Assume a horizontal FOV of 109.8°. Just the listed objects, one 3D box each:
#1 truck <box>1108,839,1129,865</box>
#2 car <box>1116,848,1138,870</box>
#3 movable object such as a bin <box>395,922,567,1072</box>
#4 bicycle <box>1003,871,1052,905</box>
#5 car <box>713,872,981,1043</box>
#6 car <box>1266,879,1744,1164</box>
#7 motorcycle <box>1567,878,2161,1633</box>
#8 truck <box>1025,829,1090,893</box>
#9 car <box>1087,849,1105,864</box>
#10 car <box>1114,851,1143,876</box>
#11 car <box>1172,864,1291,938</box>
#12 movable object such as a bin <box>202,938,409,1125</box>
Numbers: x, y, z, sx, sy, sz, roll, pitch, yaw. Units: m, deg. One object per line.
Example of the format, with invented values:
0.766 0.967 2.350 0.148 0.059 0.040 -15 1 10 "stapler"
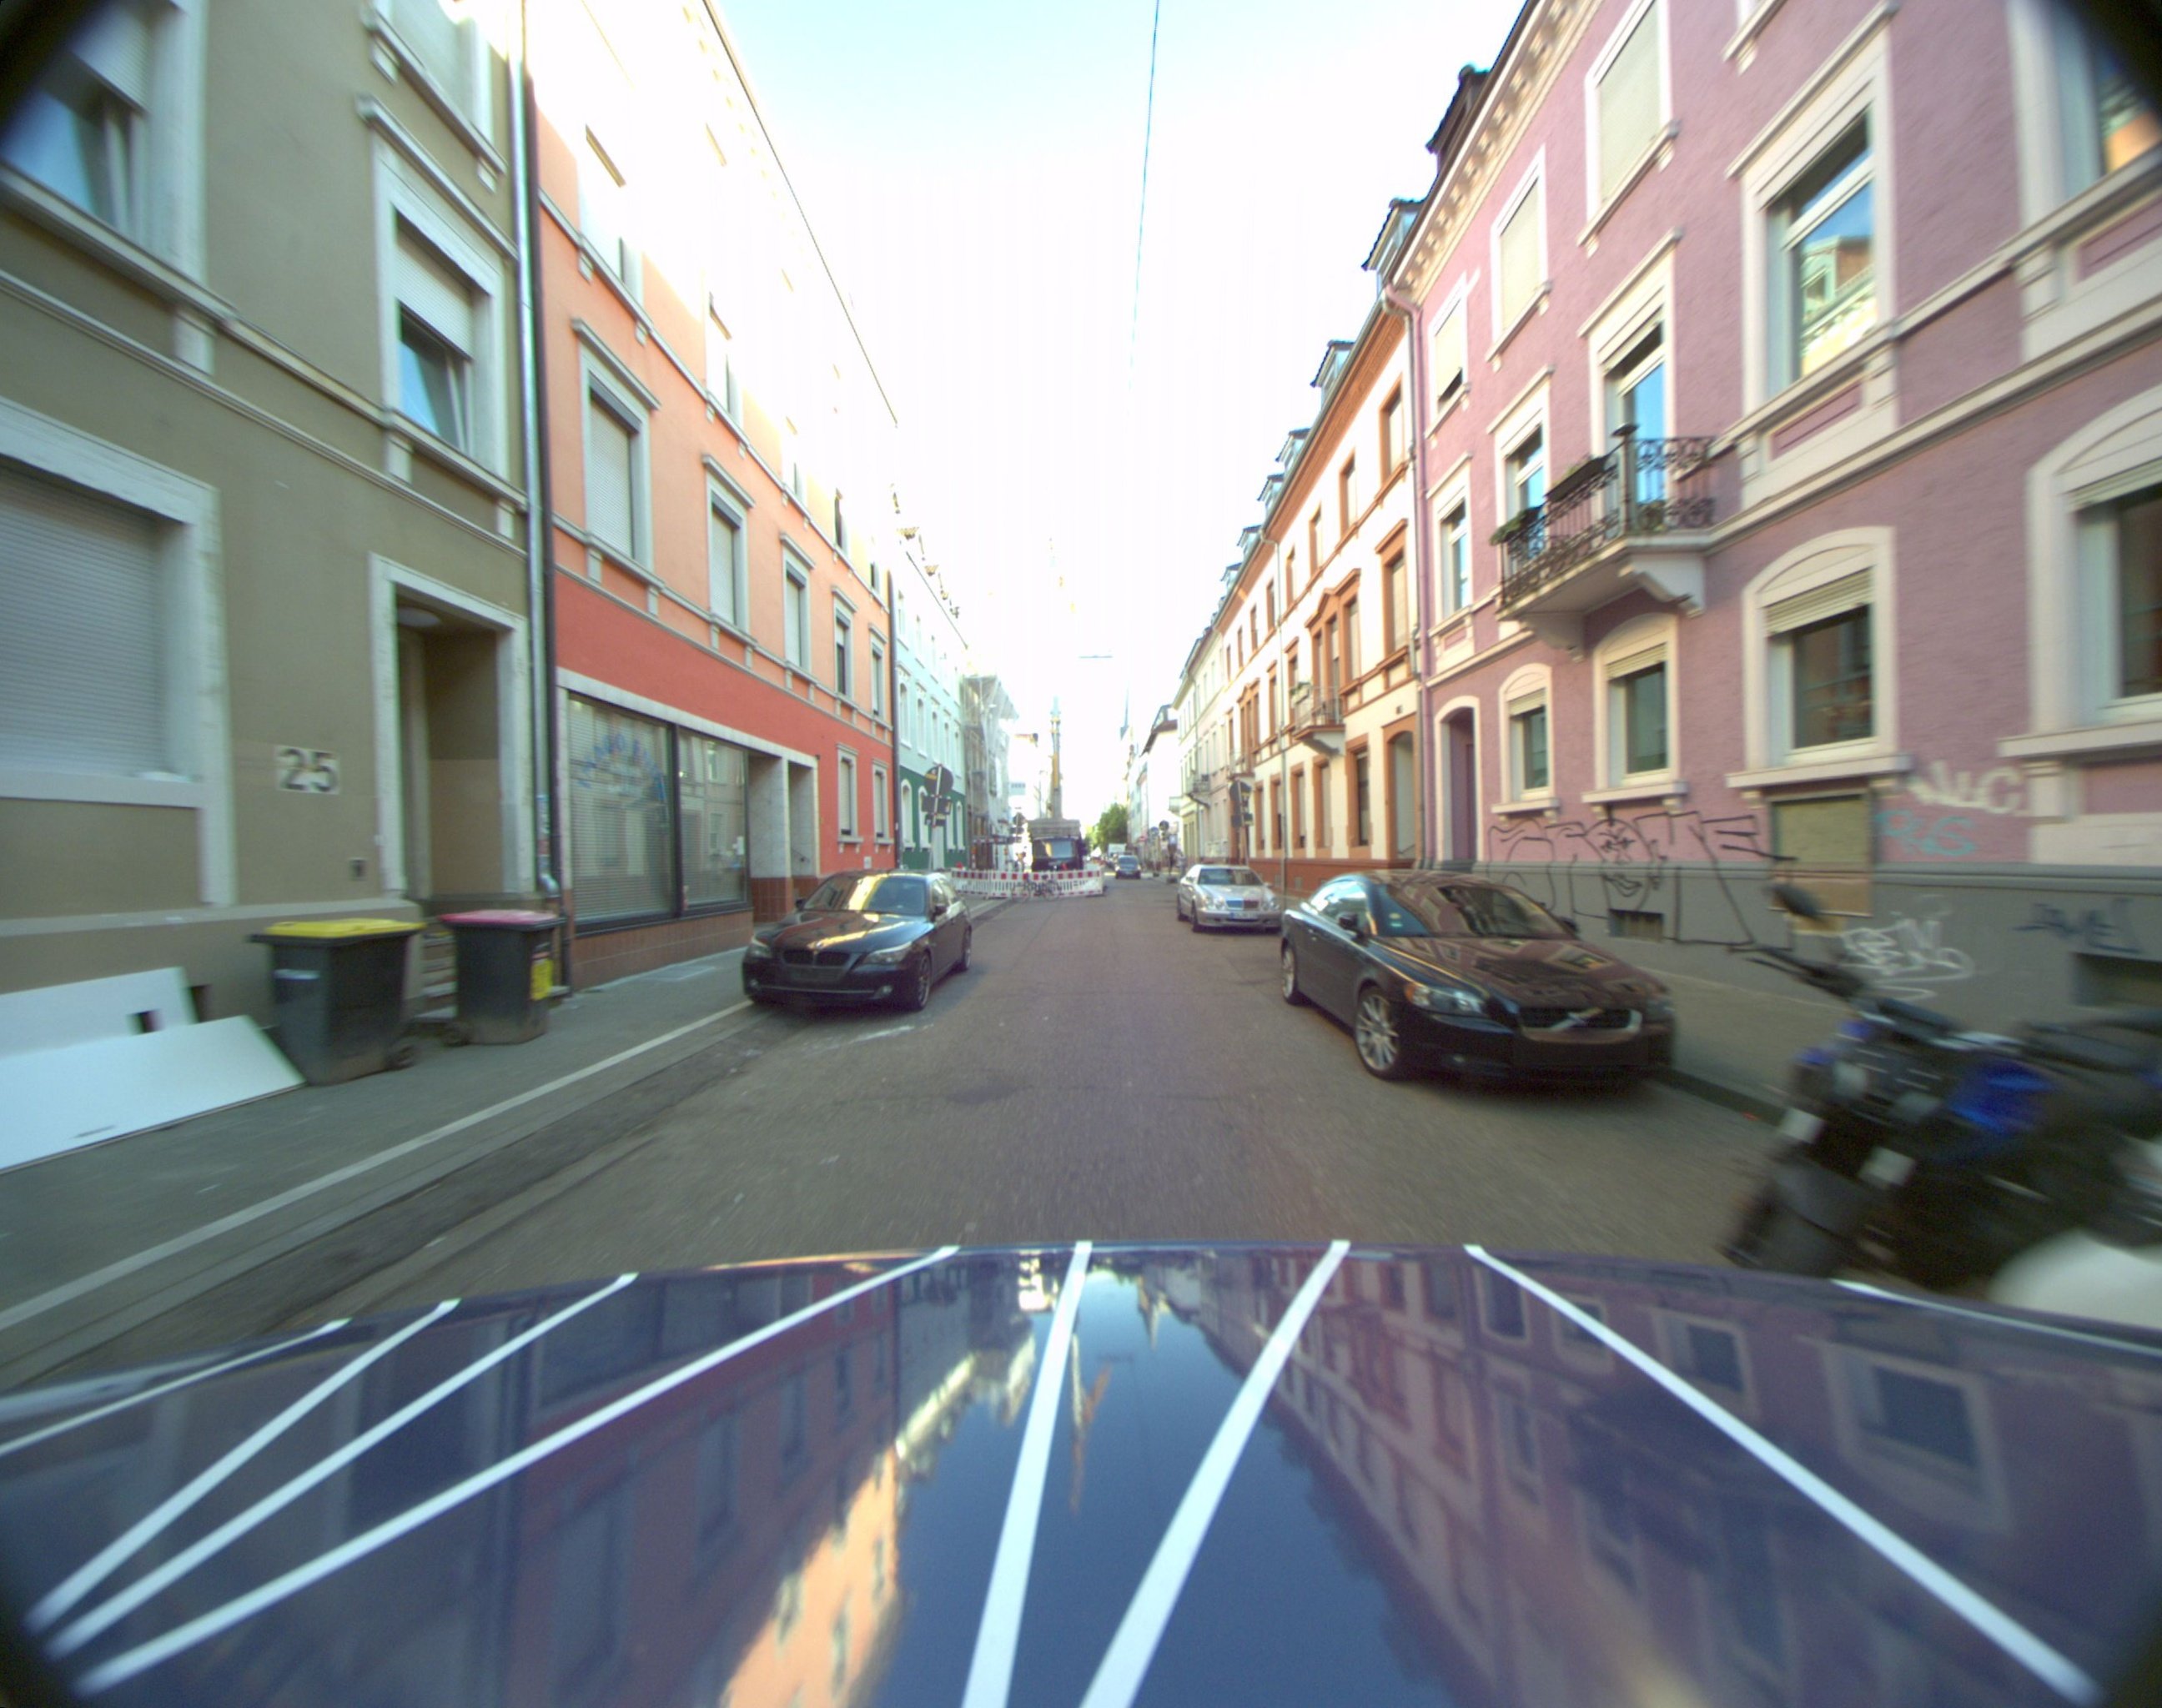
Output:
4.905 -0.247 100.190 2.524 3.271 6.643 -1 0 2 "truck"
4.309 0.443 71.724 1.998 2.002 4.258 -1 0 2 "car"
-4.874 1.132 6.230 0.893 1.102 0.641 1 0 -9 "movable object such as a bin"
-1.966 1.235 27.925 1.712 1.130 0.470 -3 1 -10 "bicycle"
-2.485 1.021 9.340 1.831 1.474 4.464 -1 0 1 "car"
2.820 0.979 6.291 1.730 1.383 4.303 0 0 3 "car"
2.615 0.872 2.304 1.969 1.470 0.822 -3 1 -19 "motorcycle"
-1.011 0.317 38.261 2.819 2.735 7.678 -3 0 1 "truck"
1.828 0.307 92.986 1.998 1.749 4.255 -3 0 1 "car"
3.306 0.655 53.143 1.832 1.650 4.213 -1 0 1 "car"
3.128 0.930 16.662 1.771 1.335 4.380 0 0 0 "car"
-5.165 1.155 5.103 0.717 1.102 0.642 1 0 1 "movable object such as a bin"
